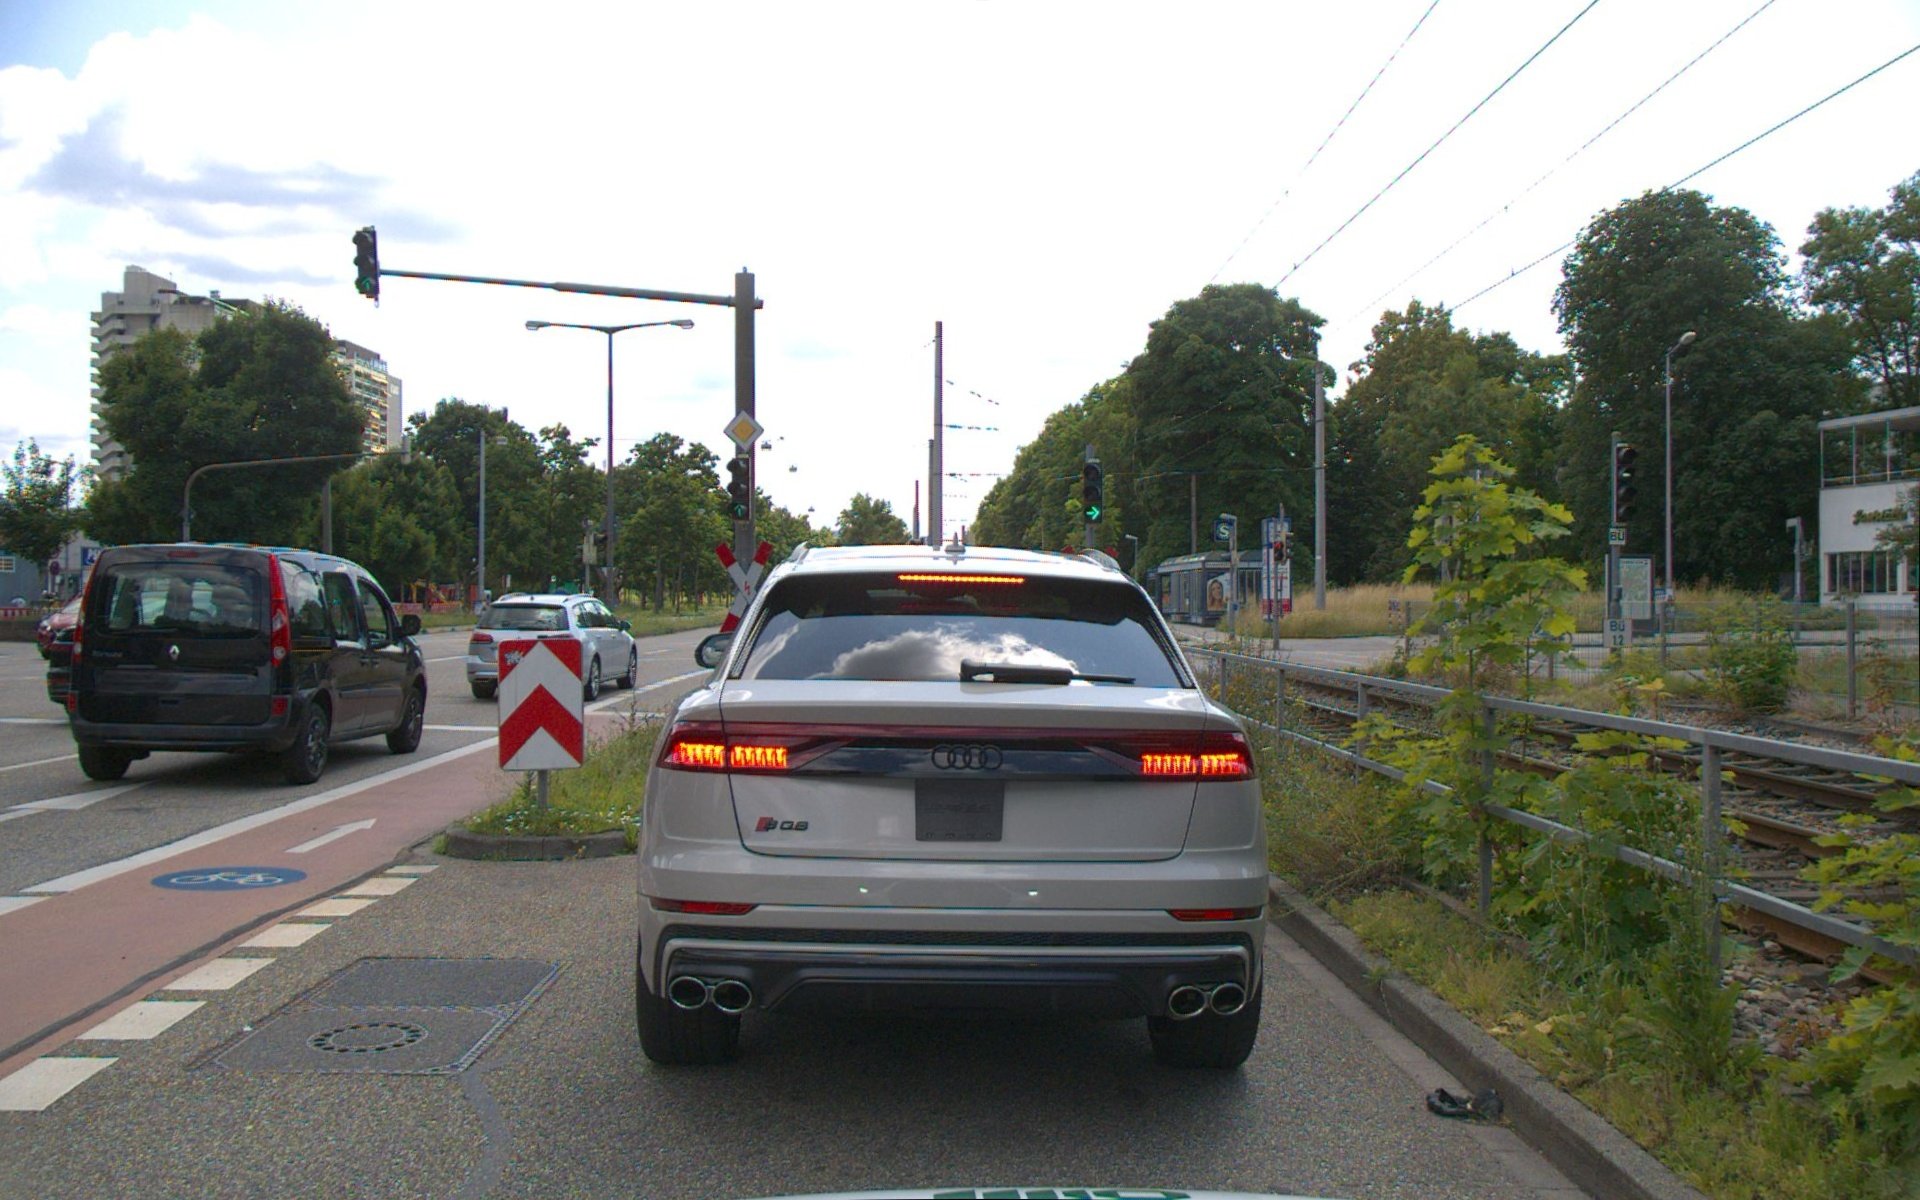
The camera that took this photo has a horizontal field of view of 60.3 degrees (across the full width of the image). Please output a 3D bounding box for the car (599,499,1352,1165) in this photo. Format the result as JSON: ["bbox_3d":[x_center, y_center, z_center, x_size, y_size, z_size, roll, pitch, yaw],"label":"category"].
[{"bbox_3d":[0.015,0.618,6.608,1.941,1.713,4.573,1,0,-1],"label":"car"}]

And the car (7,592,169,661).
[{"bbox_3d":[-20.524,0.603,39.129,1.849,1.538,3.997,1,0,-3],"label":"car"}]

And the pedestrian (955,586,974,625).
[{"bbox_3d":[0.166,0.212,64.892,0.642,1.540,0.716,0,0,-10],"label":"pedestrian"}]

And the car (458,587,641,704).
[{"bbox_3d":[-5.964,0.620,24.503,1.750,1.552,4.299,1,0,-2],"label":"car"}]

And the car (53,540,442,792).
[{"bbox_3d":[-5.797,0.493,14.000,1.724,1.808,3.906,1,0,-3],"label":"car"}]

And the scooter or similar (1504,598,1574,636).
[{"bbox_3d":[15.650,0.467,44.716,1.542,0.997,0.962,-1,0,1],"label":"scooter or similar"}]

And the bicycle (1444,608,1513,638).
[{"bbox_3d":[14.004,0.623,44.686,1.686,0.778,0.555,1,0,1],"label":"bicycle"}]

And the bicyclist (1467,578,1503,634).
[{"bbox_3d":[14.184,0.166,44.728,0.821,1.501,0.455,0,0,1],"label":"bicyclist"}]

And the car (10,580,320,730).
[{"bbox_3d":[-9.021,0.579,19.171,1.827,1.531,3.997,1,0,-4],"label":"car"}]
